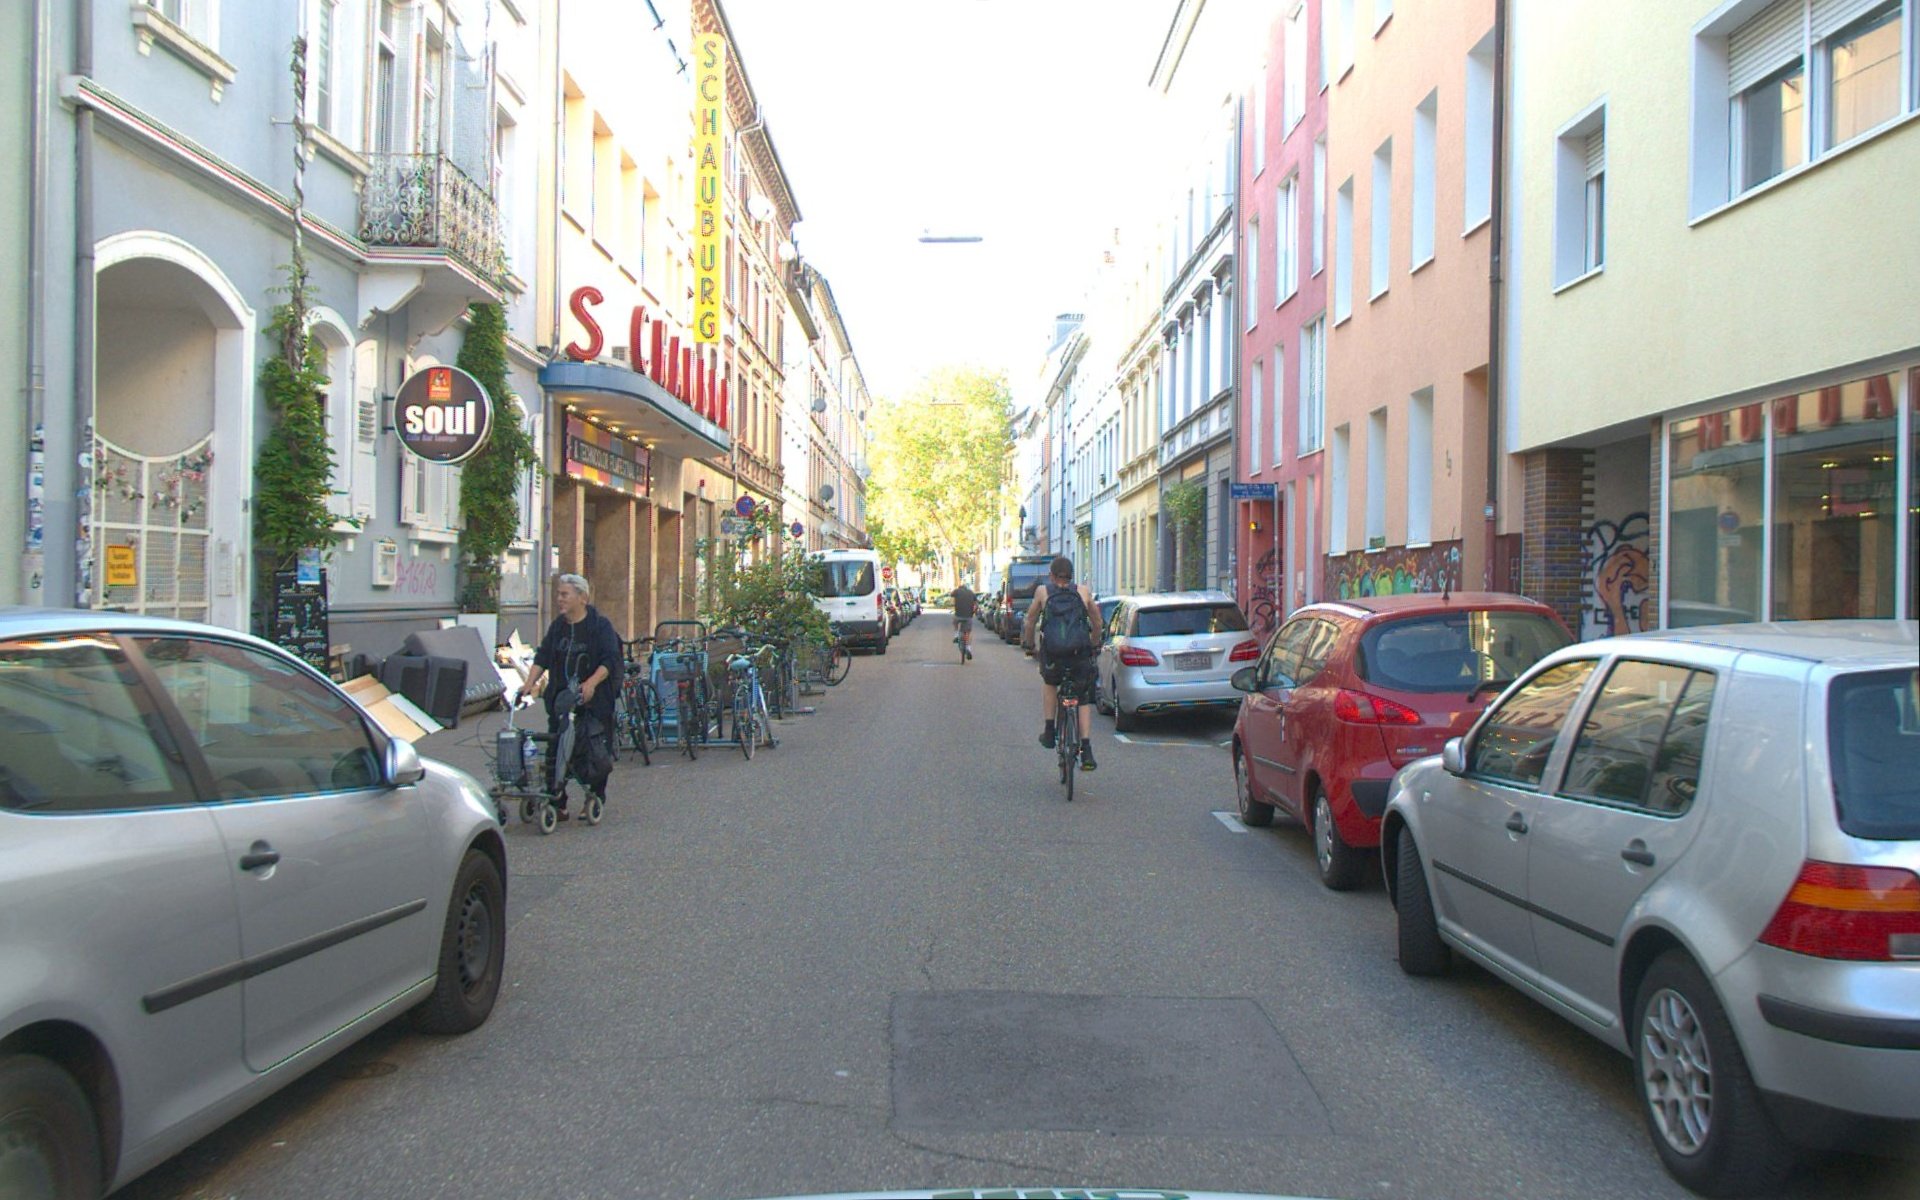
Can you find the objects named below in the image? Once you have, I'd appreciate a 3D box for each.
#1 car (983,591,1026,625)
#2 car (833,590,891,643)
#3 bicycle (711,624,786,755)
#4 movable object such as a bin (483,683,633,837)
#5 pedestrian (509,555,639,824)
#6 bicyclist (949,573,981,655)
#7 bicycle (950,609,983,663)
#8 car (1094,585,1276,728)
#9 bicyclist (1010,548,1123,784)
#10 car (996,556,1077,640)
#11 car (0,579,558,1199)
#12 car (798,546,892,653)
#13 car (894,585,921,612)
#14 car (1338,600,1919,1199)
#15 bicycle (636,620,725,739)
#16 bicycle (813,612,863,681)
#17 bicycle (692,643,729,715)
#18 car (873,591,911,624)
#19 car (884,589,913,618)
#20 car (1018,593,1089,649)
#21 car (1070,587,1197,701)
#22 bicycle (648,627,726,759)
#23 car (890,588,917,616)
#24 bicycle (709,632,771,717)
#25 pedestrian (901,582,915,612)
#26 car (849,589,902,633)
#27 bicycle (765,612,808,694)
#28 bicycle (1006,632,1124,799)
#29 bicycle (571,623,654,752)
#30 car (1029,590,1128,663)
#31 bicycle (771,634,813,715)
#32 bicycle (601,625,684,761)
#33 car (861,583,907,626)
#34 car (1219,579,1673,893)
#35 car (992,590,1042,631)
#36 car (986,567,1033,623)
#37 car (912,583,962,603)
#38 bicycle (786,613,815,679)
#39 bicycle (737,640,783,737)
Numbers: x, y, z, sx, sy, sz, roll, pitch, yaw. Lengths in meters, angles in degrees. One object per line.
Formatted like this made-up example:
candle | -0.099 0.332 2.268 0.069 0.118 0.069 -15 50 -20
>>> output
car | 1.951 0.326 73.708 1.690 1.454 3.831 0 0 -2
car | -2.831 0.457 48.323 1.612 1.472 3.838 0 0 -2
bicycle | -1.994 0.815 15.749 0.489 1.125 1.829 1 0 -1
movable object such as a bin | -2.560 1.012 10.597 0.828 0.913 0.585 2 0 -6
pedestrian | -2.583 0.584 11.140 0.699 1.737 0.671 2 0 -4
bicyclist | 0.106 0.283 34.555 0.656 1.687 0.877 0 0 -1
bicycle | 0.125 0.738 34.618 0.650 1.055 1.958 0 0 -1
car | 2.672 0.611 20.497 1.710 1.583 4.171 0 0 0
bicyclist | 0.799 0.483 12.721 0.725 1.708 1.116 2 0 -1
car | 2.345 -0.084 52.497 2.131 2.468 6.308 -1 0 -1
car | -2.476 0.701 4.393 1.646 1.480 4.035 -1 0 3
car | -2.851 -0.035 42.267 2.124 2.495 5.919 -1 0 -2
car | -3.503 -0.113 110.175 1.751 1.767 3.875 0 0 -1
car | 2.669 0.769 5.663 1.654 1.478 4.192 -1 0 -2
bicycle | -2.939 0.821 17.459 0.796 1.195 0.920 1 0 -3
bicycle | -2.055 0.764 27.752 0.453 1.066 1.742 2 0 -16
bicycle | -3.131 0.983 20.777 0.251 0.832 1.299 1 0 0
car | -3.082 0.322 75.608 1.559 1.465 3.654 0 0 0
car | -3.378 0.164 90.599 1.572 1.557 3.377 -1 0 -2
car | 2.570 0.542 46.270 1.712 1.469 4.171 1 0 -1
car | 2.588 0.617 25.312 1.569 1.566 3.450 -2 0 0
bicycle | -2.569 0.848 15.705 0.434 1.125 1.931 1 0 -1
car | -3.384 0.101 97.974 1.514 1.578 3.463 0 0 -4
bicycle | -2.675 0.888 20.232 0.542 0.960 1.571 0 0 0
pedestrian | -3.281 -0.198 104.980 0.770 1.849 0.650 2 0 -7
car | -3.023 0.359 59.609 1.824 1.465 4.643 0 1 -3
bicycle | -2.526 0.754 24.214 0.535 1.113 1.880 2 0 -4
bicycle | 0.782 0.849 12.863 0.725 1.120 2.042 2 0 -1
bicycle | -3.302 0.807 15.811 0.434 1.125 1.697 1 0 -1
car | 2.607 0.551 37.373 1.750 1.479 4.546 -3 0 -1
bicycle | -2.084 0.913 20.591 0.382 0.932 1.393 0 0 0
bicycle | -2.907 0.820 15.260 0.434 1.125 1.873 1 0 -2
car | -3.216 0.184 70.627 1.764 1.728 4.000 -2 0 -1
car | 2.749 0.666 10.288 1.662 1.549 3.980 -1 0 0
car | 2.168 0.386 63.817 1.710 1.511 4.242 0 0 -1
car | 2.336 -0.255 79.097 2.159 2.595 6.037 0 0 1
car | -2.089 -0.599 149.636 4.382 1.790 1.864 0 0 -5
bicycle | -2.769 0.780 28.806 0.433 1.066 1.863 2 0 -4
bicycle | -2.088 0.909 17.345 0.315 0.932 1.290 0 0 0
